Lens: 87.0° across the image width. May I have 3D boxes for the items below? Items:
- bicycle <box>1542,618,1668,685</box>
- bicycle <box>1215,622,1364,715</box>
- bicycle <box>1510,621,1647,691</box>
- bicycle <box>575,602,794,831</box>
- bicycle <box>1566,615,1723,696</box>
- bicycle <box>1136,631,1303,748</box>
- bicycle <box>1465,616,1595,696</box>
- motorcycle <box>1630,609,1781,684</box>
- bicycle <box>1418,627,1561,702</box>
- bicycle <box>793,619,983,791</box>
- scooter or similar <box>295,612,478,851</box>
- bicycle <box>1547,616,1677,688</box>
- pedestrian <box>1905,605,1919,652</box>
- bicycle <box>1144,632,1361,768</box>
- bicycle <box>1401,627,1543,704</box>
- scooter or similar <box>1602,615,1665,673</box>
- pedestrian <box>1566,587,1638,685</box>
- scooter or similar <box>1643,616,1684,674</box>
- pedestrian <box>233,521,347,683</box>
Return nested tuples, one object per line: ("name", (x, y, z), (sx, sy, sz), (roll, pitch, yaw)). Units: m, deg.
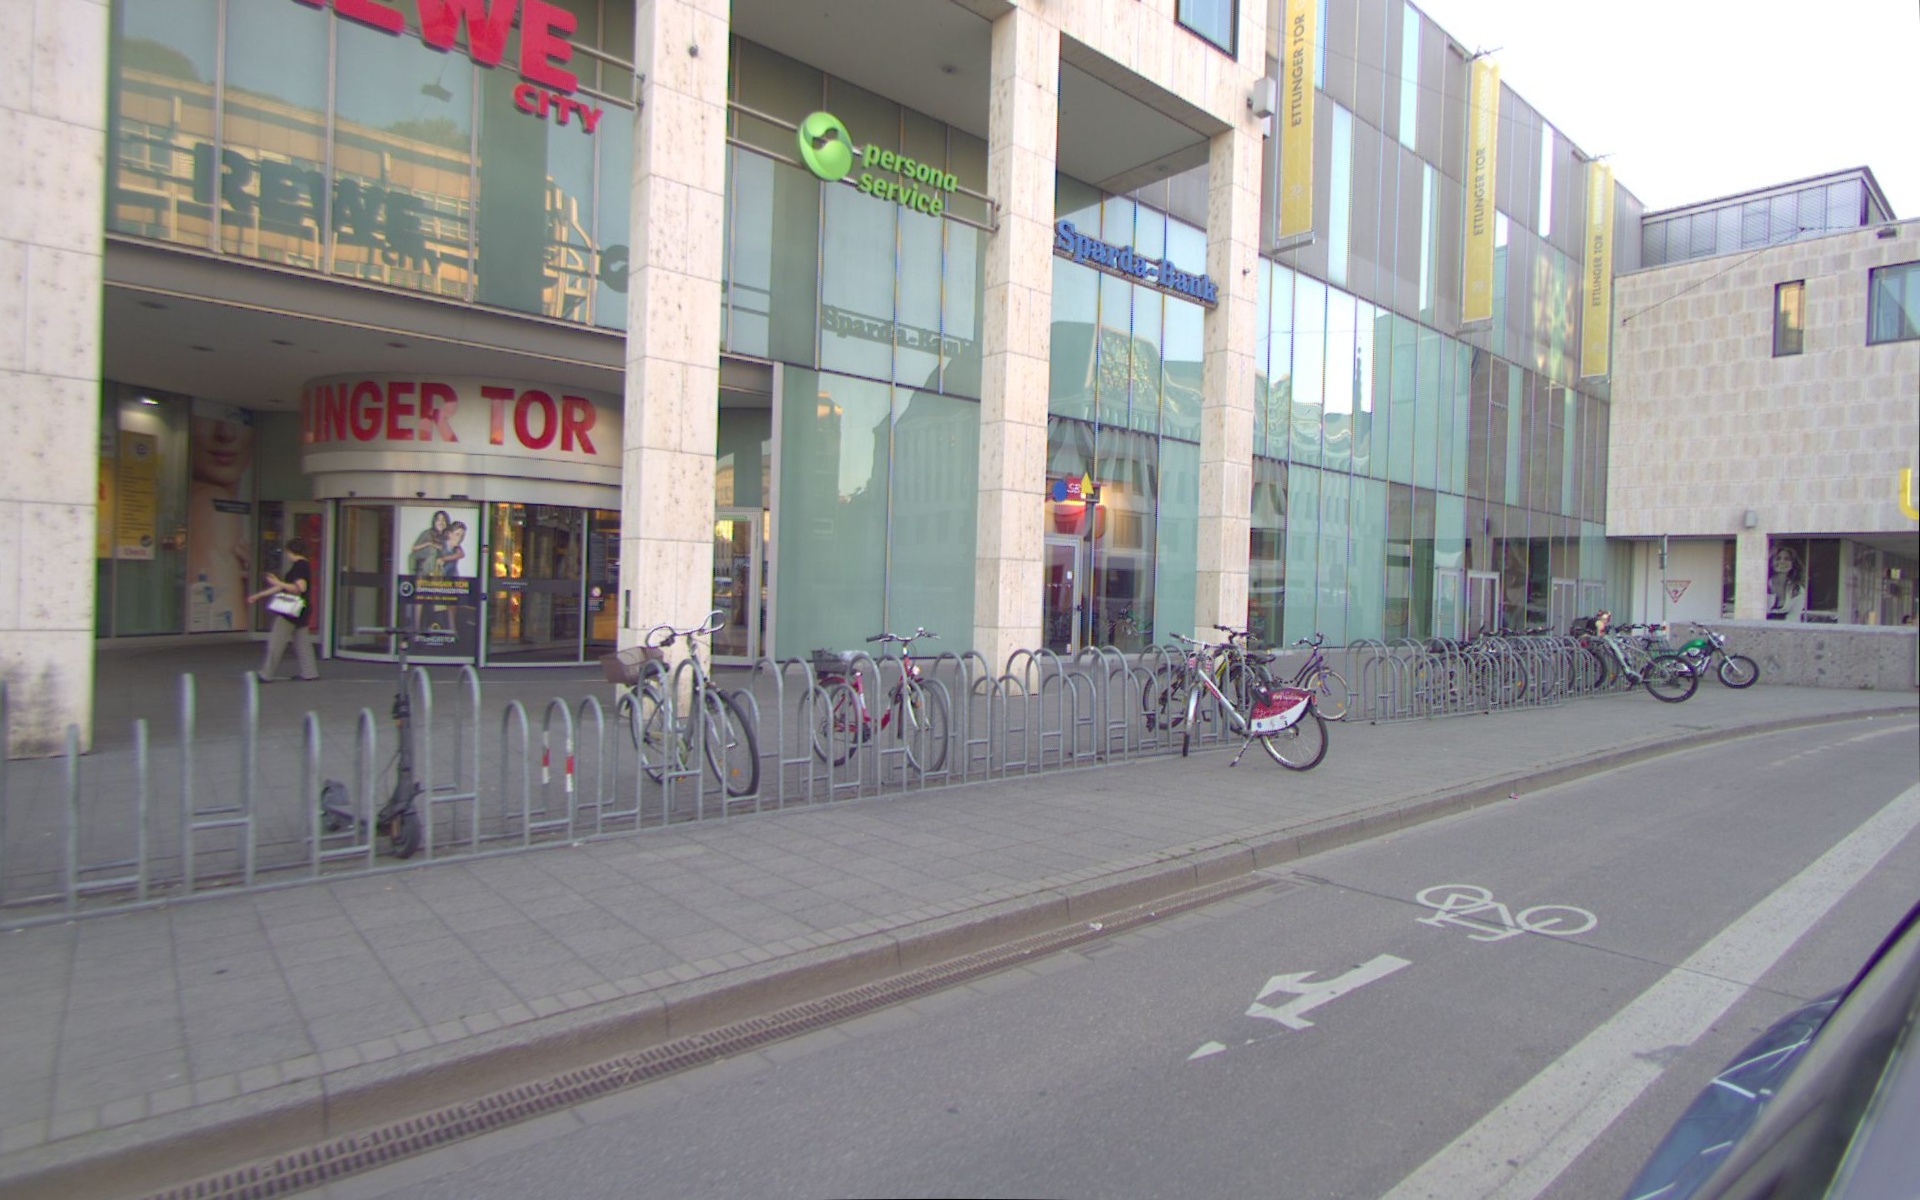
("bicycle", (12.492, 0.971, 19.674), (0.506, 1.143, 1.995), (1, 1, -35))
("bicycle", (4.223, 0.850, 13.031), (1.700, 1.036, 0.592), (3, 1, 40))
("bicycle", (10.808, 0.952, 17.764), (0.545, 1.144, 1.994), (1, -2, -35))
("bicycle", (-1.923, 0.690, 6.869), (0.662, 1.275, 1.870), (1, 1, -41))
("bicycle", (10.934, 0.854, 16.243), (0.559, 1.143, 1.995), (1, 1, -35))
("bicycle", (2.715, 0.899, 10.784), (0.589, 1.114, 1.823), (1, -2, -32))
("bicycle", (9.229, 0.878, 16.447), (0.507, 1.143, 1.770), (1, 1, -37))
("motorcycle", (15.006, 0.901, 20.430), (0.892, 1.350, 2.301), (1, 1, -42))
("bicycle", (7.846, 0.931, 15.064), (0.507, 0.948, 1.811), (1, 1, -41))
("bicycle", (-0.626, 0.757, 8.041), (0.560, 1.127, 1.877), (1, 1, -36))
("scooter or similar", (-3.333, 0.678, 5.839), (0.662, 1.174, 1.278), (1, 0, -41))
("bicycle", (12.245, 0.952, 19.065), (0.506, 1.193, 1.995), (1, 1, -35))
("pedestrian", (32.765, 0.982, 34.525), (0.761, 1.587, 0.635), (3, -1, -41))
("bicycle", (2.502, 0.814, 8.895), (0.559, 1.061, 1.904), (1, -2, -35))
("bicycle", (7.377, 0.914, 14.649), (0.507, 0.948, 1.741), (1, 1, -41))
("scooter or similar", (15.328, 0.994, 23.057), (1.099, 1.273, 0.397), (1, 0, 12))
("pedestrian", (11.993, 0.647, 18.909), (0.803, 1.757, 0.839), (1, 1, -33))
("scooter or similar", (15.693, 1.000, 22.566), (0.851, 1.273, 0.399), (1, 0, -29))
("pedestrian", (-7.839, 0.004, 11.839), (0.973, 1.798, 0.862), (1, 2, -41))
